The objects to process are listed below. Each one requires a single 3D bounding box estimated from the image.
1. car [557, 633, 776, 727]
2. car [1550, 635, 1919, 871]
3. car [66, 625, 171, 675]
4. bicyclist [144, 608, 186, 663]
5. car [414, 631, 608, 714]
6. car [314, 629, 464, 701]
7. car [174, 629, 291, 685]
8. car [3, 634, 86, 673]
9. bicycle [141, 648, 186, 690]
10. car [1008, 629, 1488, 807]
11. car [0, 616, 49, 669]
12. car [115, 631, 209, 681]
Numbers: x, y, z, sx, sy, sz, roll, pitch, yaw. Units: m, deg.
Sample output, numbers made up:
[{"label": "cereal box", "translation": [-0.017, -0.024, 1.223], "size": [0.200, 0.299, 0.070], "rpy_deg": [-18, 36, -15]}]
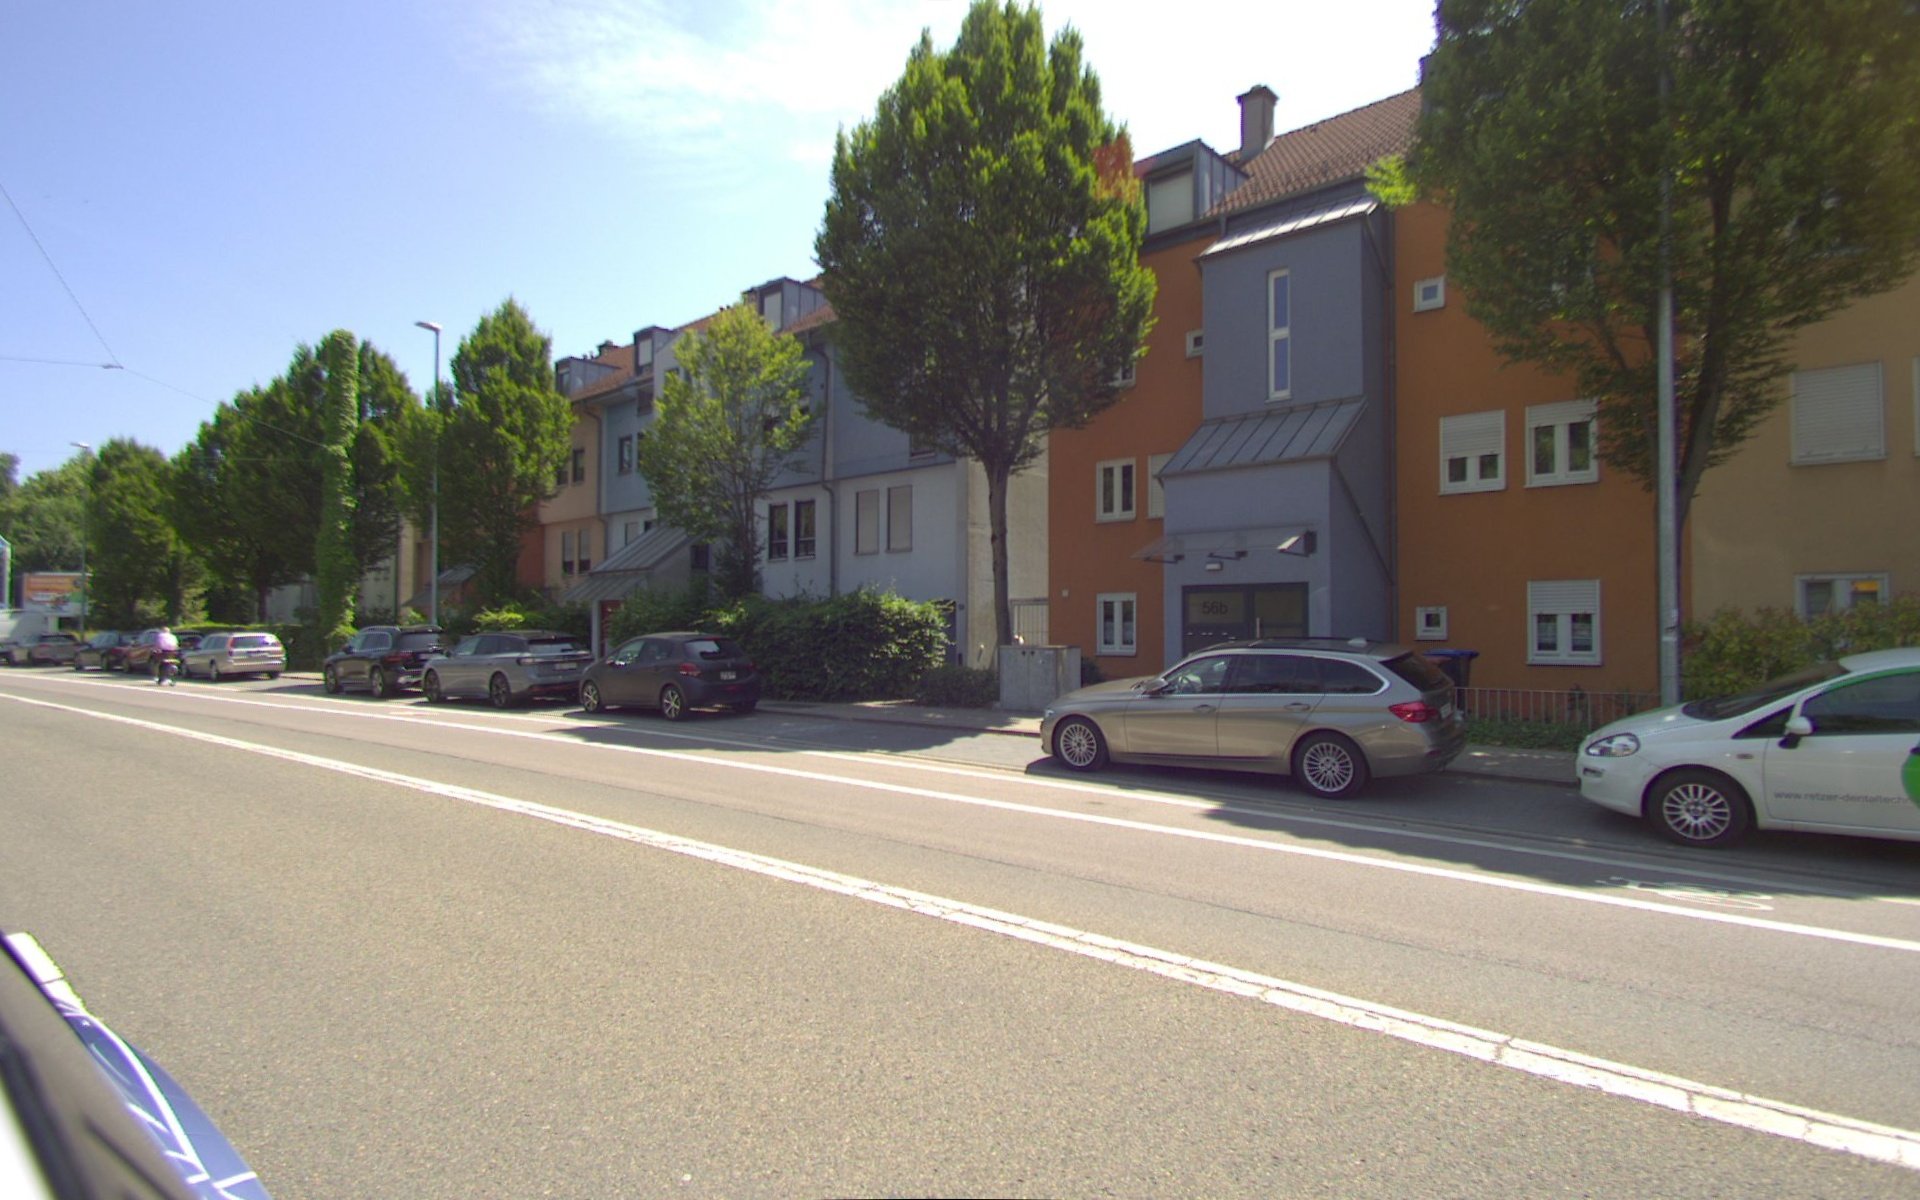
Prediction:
[{"label": "car", "translation": [-5.384, 1.348, 18.294], "size": [4.254, 1.443, 1.732], "rpy_deg": [-2, 0, 40]}, {"label": "car", "translation": [7.064, 1.058, 7.465], "size": [4.417, 1.453, 1.728], "rpy_deg": [-2, 2, 41]}, {"label": "car", "translation": [-32.103, 1.868, 38.576], "size": [4.548, 1.808, 1.976], "rpy_deg": [-1, -2, 35]}, {"label": "bicyclist", "translation": [-22.338, 1.002, 28.435], "size": [0.736, 1.516, 0.728], "rpy_deg": [-1, -4, 41]}, {"label": "car", "translation": [-9.608, 1.465, 21.482], "size": [4.752, 1.507, 1.807], "rpy_deg": [-2, -1, 39]}, {"label": "car", "translation": [-14.189, 1.563, 25.070], "size": [4.142, 1.601, 1.750], "rpy_deg": [-2, -1, 38]}, {"label": "car", "translation": [-23.085, 1.785, 32.064], "size": [4.490, 1.595, 1.822], "rpy_deg": [-2, -1, 38]}, {"label": "car", "translation": [-39.532, 2.279, 43.670], "size": [4.135, 1.549, 1.848], "rpy_deg": [-2, -1, 36]}, {"label": "bicycle", "translation": [-22.353, 1.924, 28.395], "size": [1.638, 1.104, 0.633], "rpy_deg": [-1, -4, 41]}, {"label": "car", "translation": [2.975, 1.134, 11.099], "size": [4.744, 1.440, 1.688], "rpy_deg": [-2, 2, 38]}, {"label": "car", "translation": [-44.613, 1.999, 46.890], "size": [5.213, 2.326, 2.260], "rpy_deg": [-2, -1, 33]}, {"label": "car", "translation": [-27.943, 1.931, 35.431], "size": [3.673, 1.606, 1.586], "rpy_deg": [-2, -1, 35]}]
